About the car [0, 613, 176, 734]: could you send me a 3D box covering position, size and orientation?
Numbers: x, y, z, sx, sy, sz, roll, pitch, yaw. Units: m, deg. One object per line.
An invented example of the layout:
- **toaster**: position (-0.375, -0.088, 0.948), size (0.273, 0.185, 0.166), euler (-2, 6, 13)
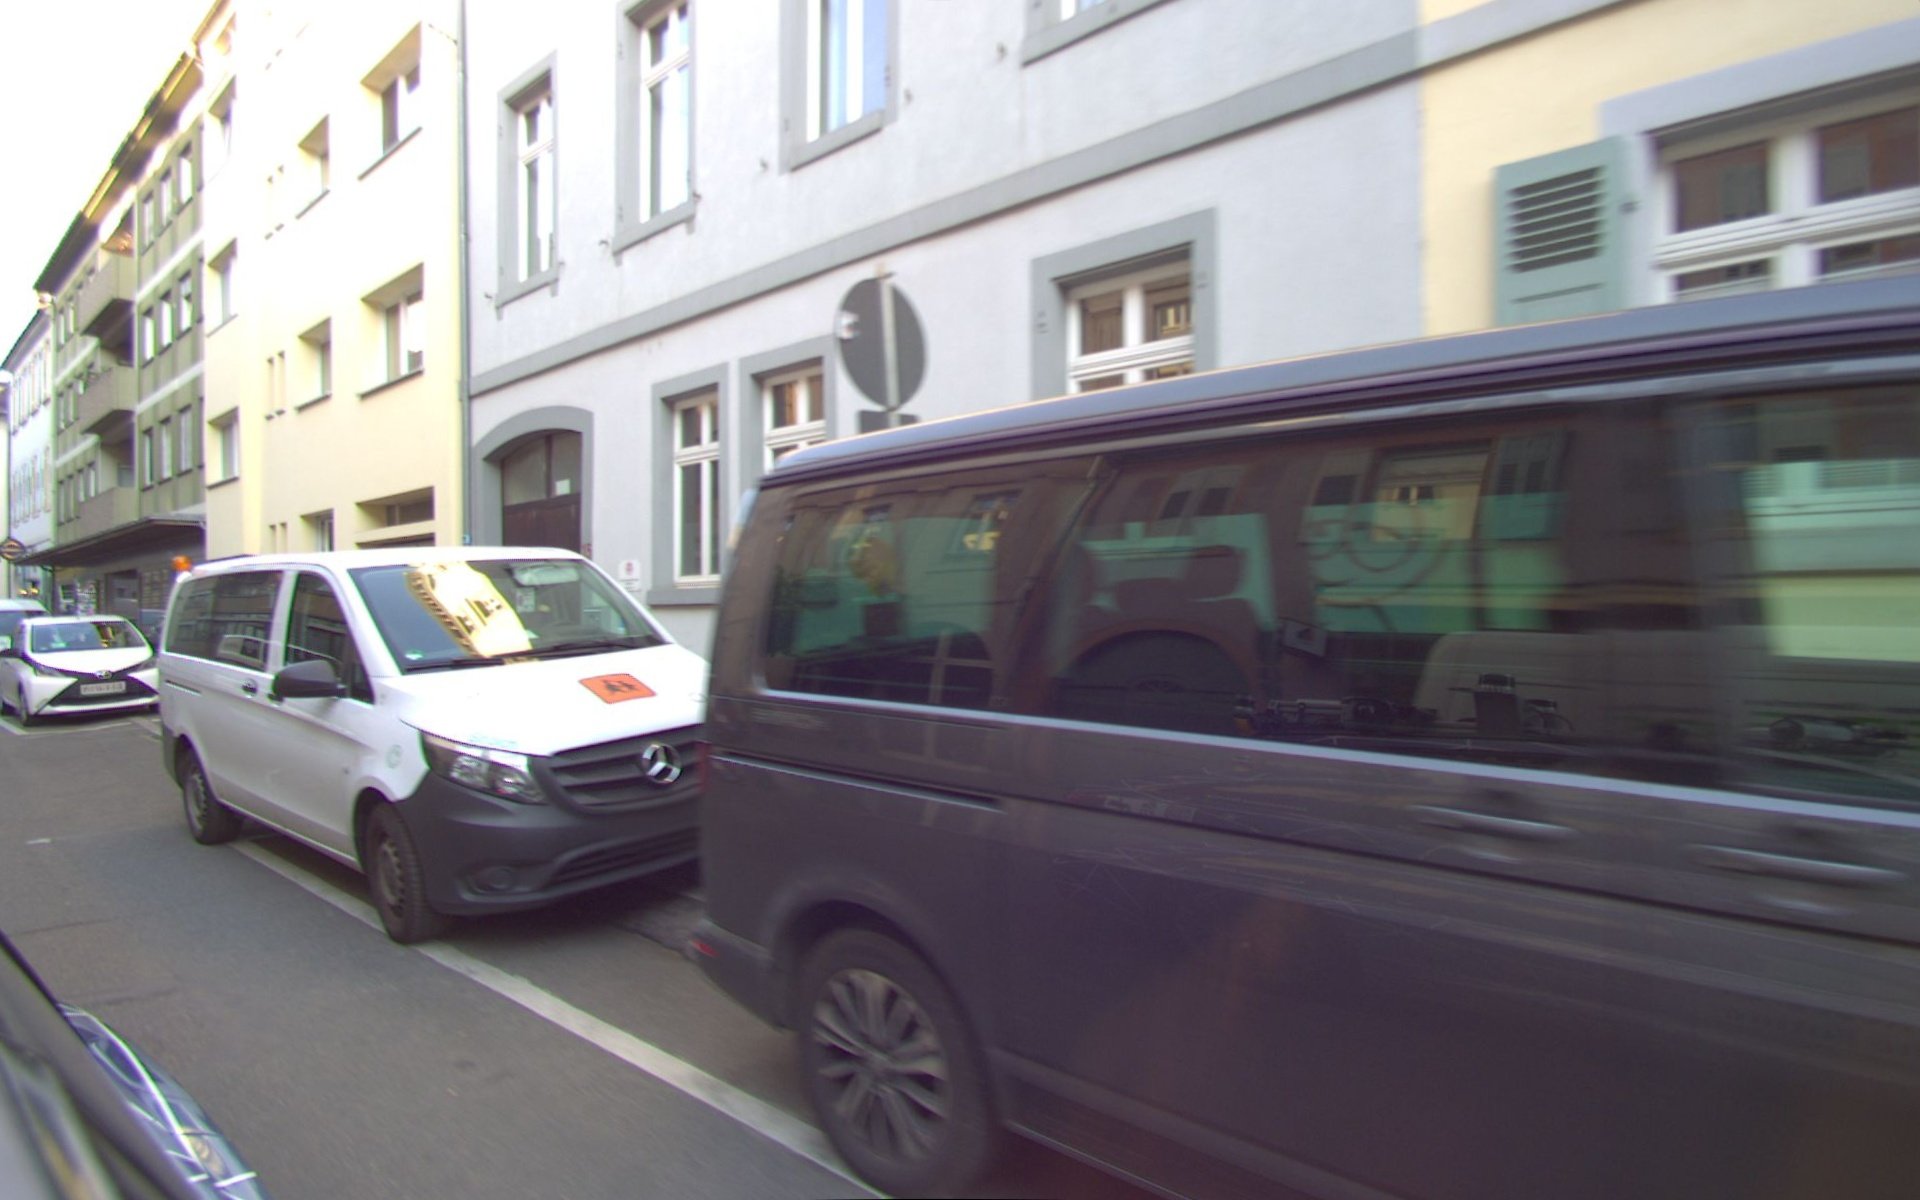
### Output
- **car**: position (-13.010, 0.987, 14.863), size (3.519, 1.459, 1.645), euler (-1, 2, 41)

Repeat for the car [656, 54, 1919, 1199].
- **car**: position (1.544, 0.366, 2.091), size (4.810, 2.029, 1.843), euler (-1, -1, 40)

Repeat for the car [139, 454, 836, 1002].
- **car**: position (-3.175, 0.523, 6.109), size (5.102, 2.029, 1.843), euler (-1, -1, 40)

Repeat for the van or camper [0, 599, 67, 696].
- **van or camper**: position (-19.881, 0.944, 20.858), size (4.177, 1.862, 1.753), euler (-1, -1, 42)
